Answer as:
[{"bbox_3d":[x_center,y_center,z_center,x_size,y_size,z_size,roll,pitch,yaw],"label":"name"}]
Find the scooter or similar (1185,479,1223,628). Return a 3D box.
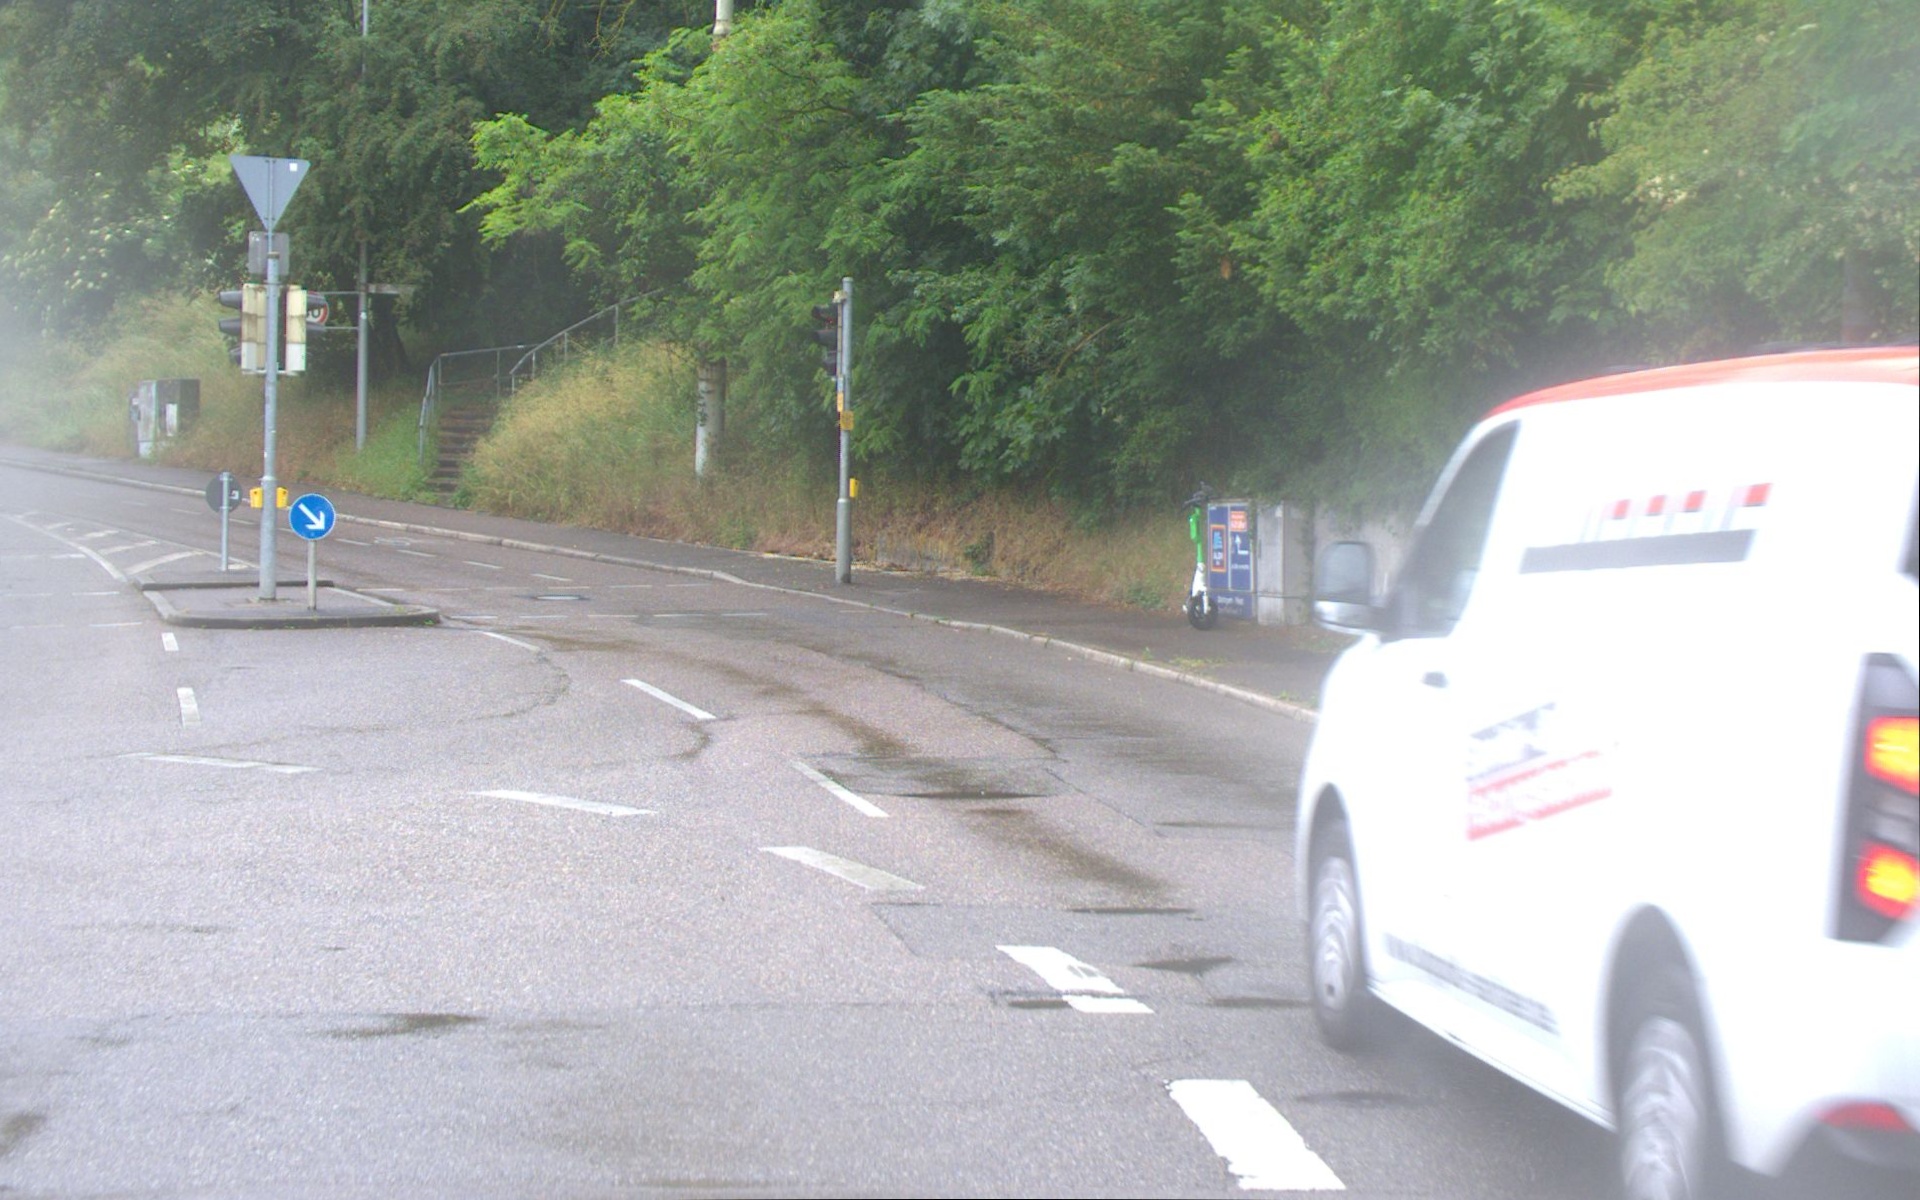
[{"bbox_3d":[2.148,-0.416,30.195,0.322,1.275,0.751,0,4,5],"label":"scooter or similar"}]

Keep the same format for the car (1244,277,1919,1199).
[{"bbox_3d":[2.142,0.381,8.236,2.065,1.999,4.816,0,2,-6],"label":"car"}]
